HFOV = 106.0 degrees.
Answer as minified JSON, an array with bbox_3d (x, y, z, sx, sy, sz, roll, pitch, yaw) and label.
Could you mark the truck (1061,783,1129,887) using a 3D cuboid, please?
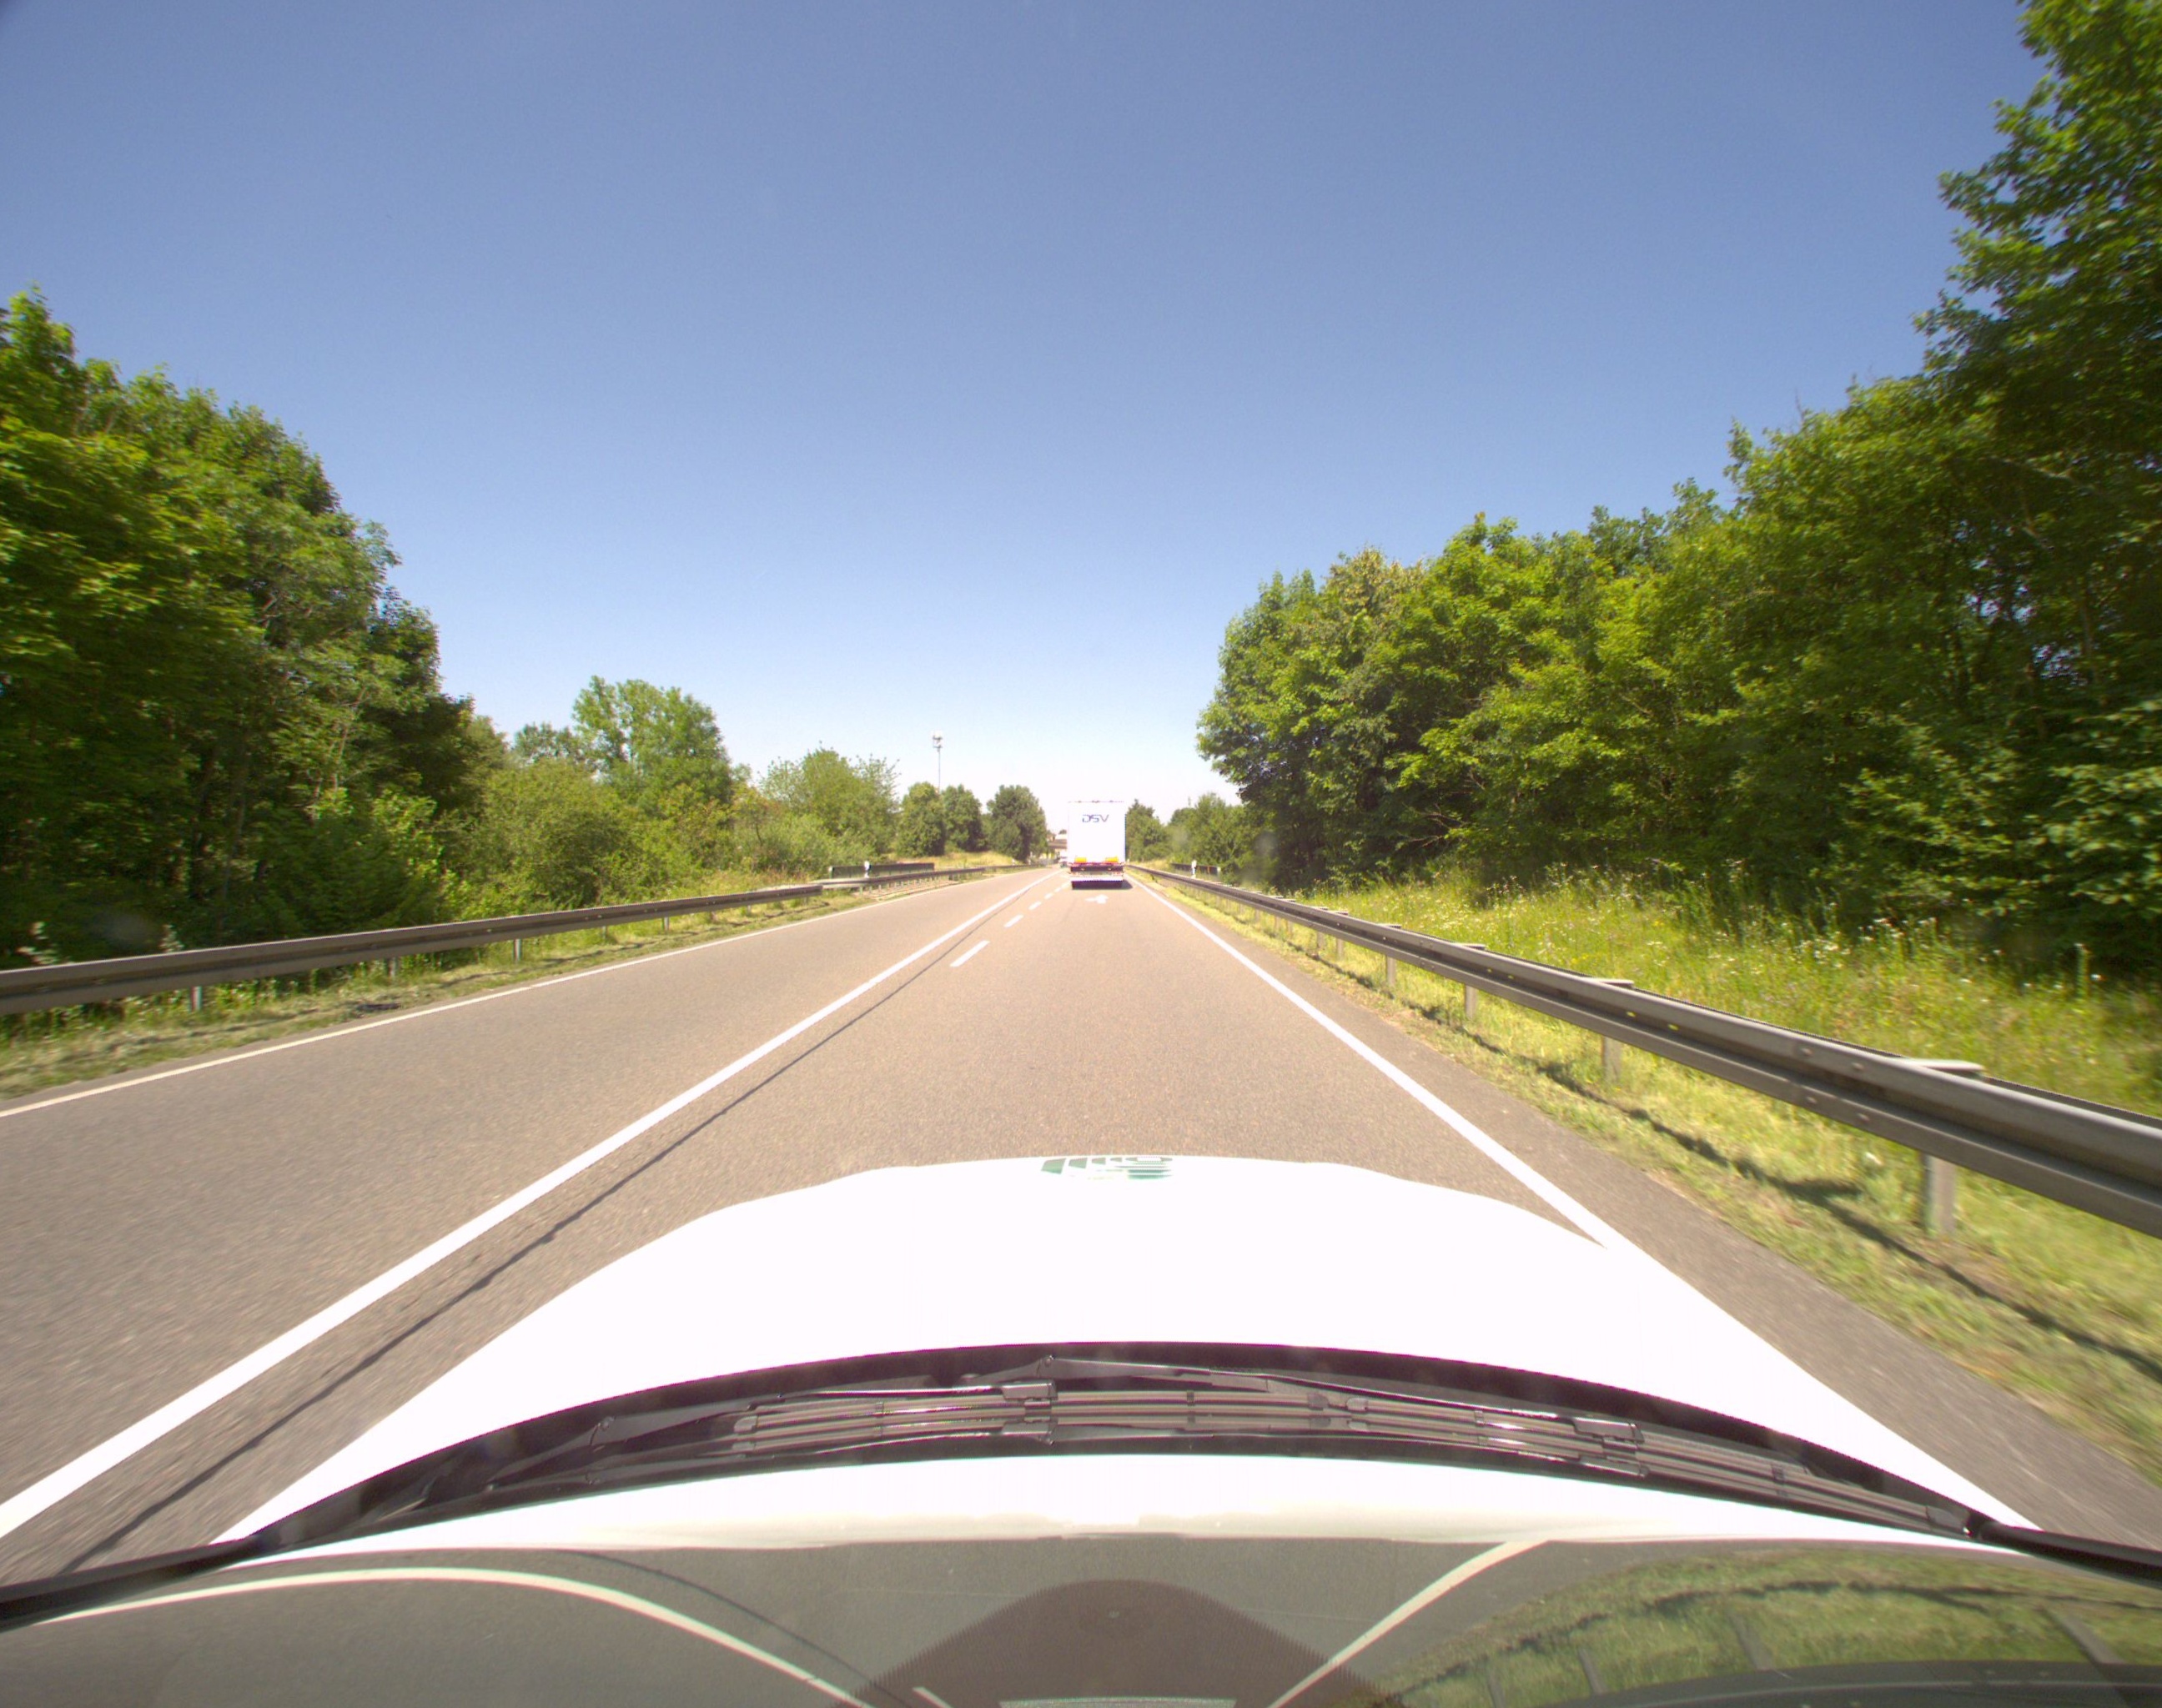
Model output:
[{"bbox_3d":[0.761,-0.777,40.799,2.939,4.569,9.865,-1,-1,1],"label":"truck"}]
